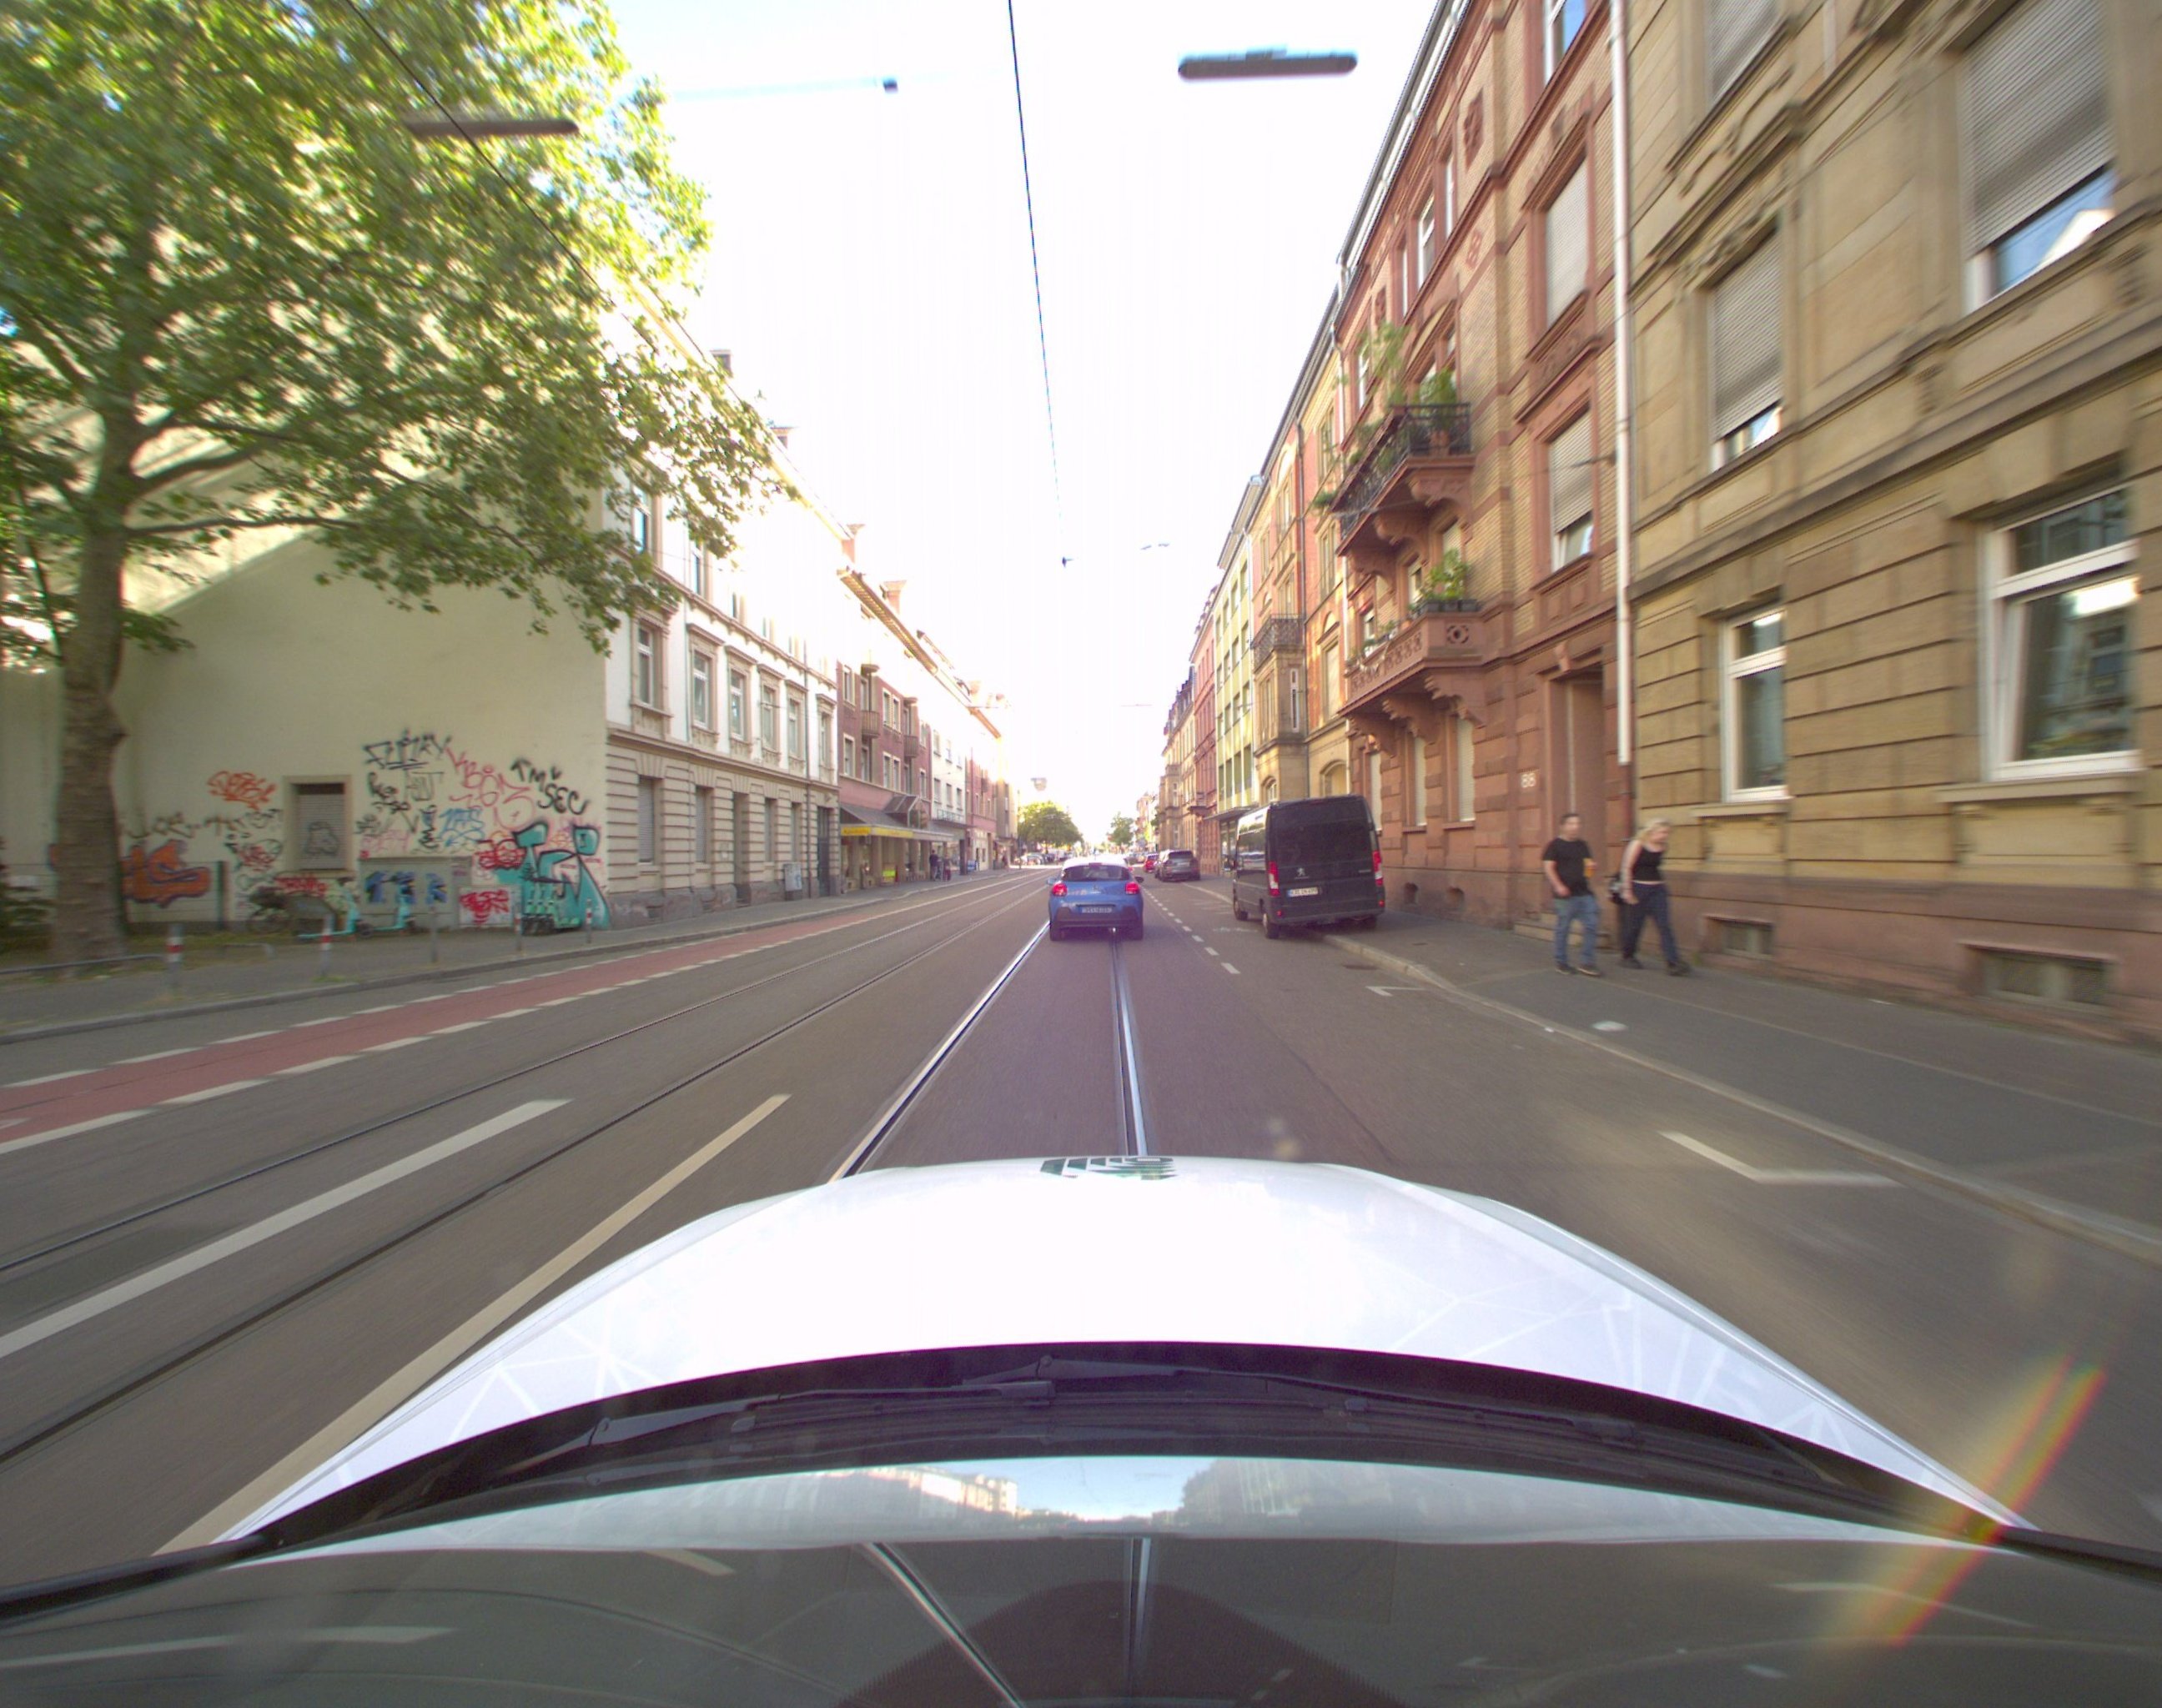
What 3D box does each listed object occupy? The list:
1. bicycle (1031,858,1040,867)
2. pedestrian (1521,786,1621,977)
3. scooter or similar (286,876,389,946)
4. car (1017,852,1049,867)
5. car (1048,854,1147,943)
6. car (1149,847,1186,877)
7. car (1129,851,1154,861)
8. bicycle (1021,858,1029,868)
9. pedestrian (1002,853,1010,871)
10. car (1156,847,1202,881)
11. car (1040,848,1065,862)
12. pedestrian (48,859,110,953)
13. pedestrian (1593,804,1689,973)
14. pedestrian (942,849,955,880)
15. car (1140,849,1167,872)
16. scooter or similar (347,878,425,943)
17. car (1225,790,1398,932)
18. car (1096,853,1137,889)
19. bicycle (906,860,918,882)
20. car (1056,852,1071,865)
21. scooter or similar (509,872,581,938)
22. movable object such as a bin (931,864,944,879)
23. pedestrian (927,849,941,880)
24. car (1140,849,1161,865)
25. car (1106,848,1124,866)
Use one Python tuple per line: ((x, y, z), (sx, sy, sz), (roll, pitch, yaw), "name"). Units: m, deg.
((-6.074, 1.090, 108.787), (1.118, 1.146, 3.639), (-1, 0, -4), "bicycle")
((5.426, 0.290, 9.061), (0.583, 2.013, 0.823), (-1, 0, 0), "pedestrian")
((-14.274, 1.071, 15.670), (1.228, 1.258, 0.765), (-1, 0, -11), "scooter or similar")
((-6.788, 0.842, 116.079), (4.290, 2.017, 2.211), (-1, 0, 3), "car")
((0.294, 0.771, 16.043), (1.668, 1.477, 3.999), (-2, 0, 0), "car")
((5.305, 0.485, 50.468), (1.899, 1.757, 4.000), (-1, 0, 0), "car")
((9.921, 0.304, 133.785), (3.825, 1.618, 1.791), (-1, 0, -1), "car")
((-7.464, 1.199, 108.766), (1.118, 1.319, 3.639), (-1, 0, -4), "bicycle")
((-6.848, 0.763, 74.434), (0.683, 1.638, 0.675), (-1, 0, 0), "pedestrian")
((5.279, 0.523, 44.245), (1.998, 1.672, 4.807), (-1, 0, 1), "car")
((-5.584, 0.121, 157.593), (4.329, 2.581, 2.192), (-1, 0, -25), "car")
((-18.860, 0.959, 15.341), (0.454, 1.718, 0.547), (-1, 0, 0), "pedestrian")
((6.216, 0.371, 9.063), (0.551, 1.782, 0.606), (-3, 0, 0), "pedestrian")
((-7.769, 0.605, 47.723), (0.710, 1.764, 0.653), (-1, 0, -7), "pedestrian")
((6.055, 0.516, 68.424), (1.998, 1.672, 4.393), (-1, 2, 1), "car")
((-14.107, 1.128, 16.555), (0.937, 1.222, 0.765), (-1, 0, -11), "scooter or similar")
((4.503, 0.120, 17.005), (2.262, 2.436, 5.725), (-1, 0, 3), "car")
((1.546, 0.733, 36.641), (1.661, 1.478, 4.000), (-1, 0, 0), "car")
((-9.404, 0.952, 45.418), (0.621, 1.159, 2.057), (-1, 0, -12), "bicycle")
((-2.459, 0.634, 113.917), (1.987, 1.651, 4.000), (-1, 0, 0), "car")
((-11.218, 1.043, 17.086), (0.785, 1.271, 1.075), (1, 1, 0), "scooter or similar")
((-8.510, 1.033, 48.227), (0.608, 0.914, 0.695), (-1, 0, 1), "movable object such as a bin")
((-8.580, 0.604, 47.561), (0.708, 1.764, 0.570), (-1, 0, 0), "pedestrian")
((7.919, 0.294, 92.786), (1.998, 1.672, 4.392), (-4, 0, 1), "car")
((4.014, 0.354, 96.729), (1.987, 2.013, 4.000), (-1, 0, 0), "car")
